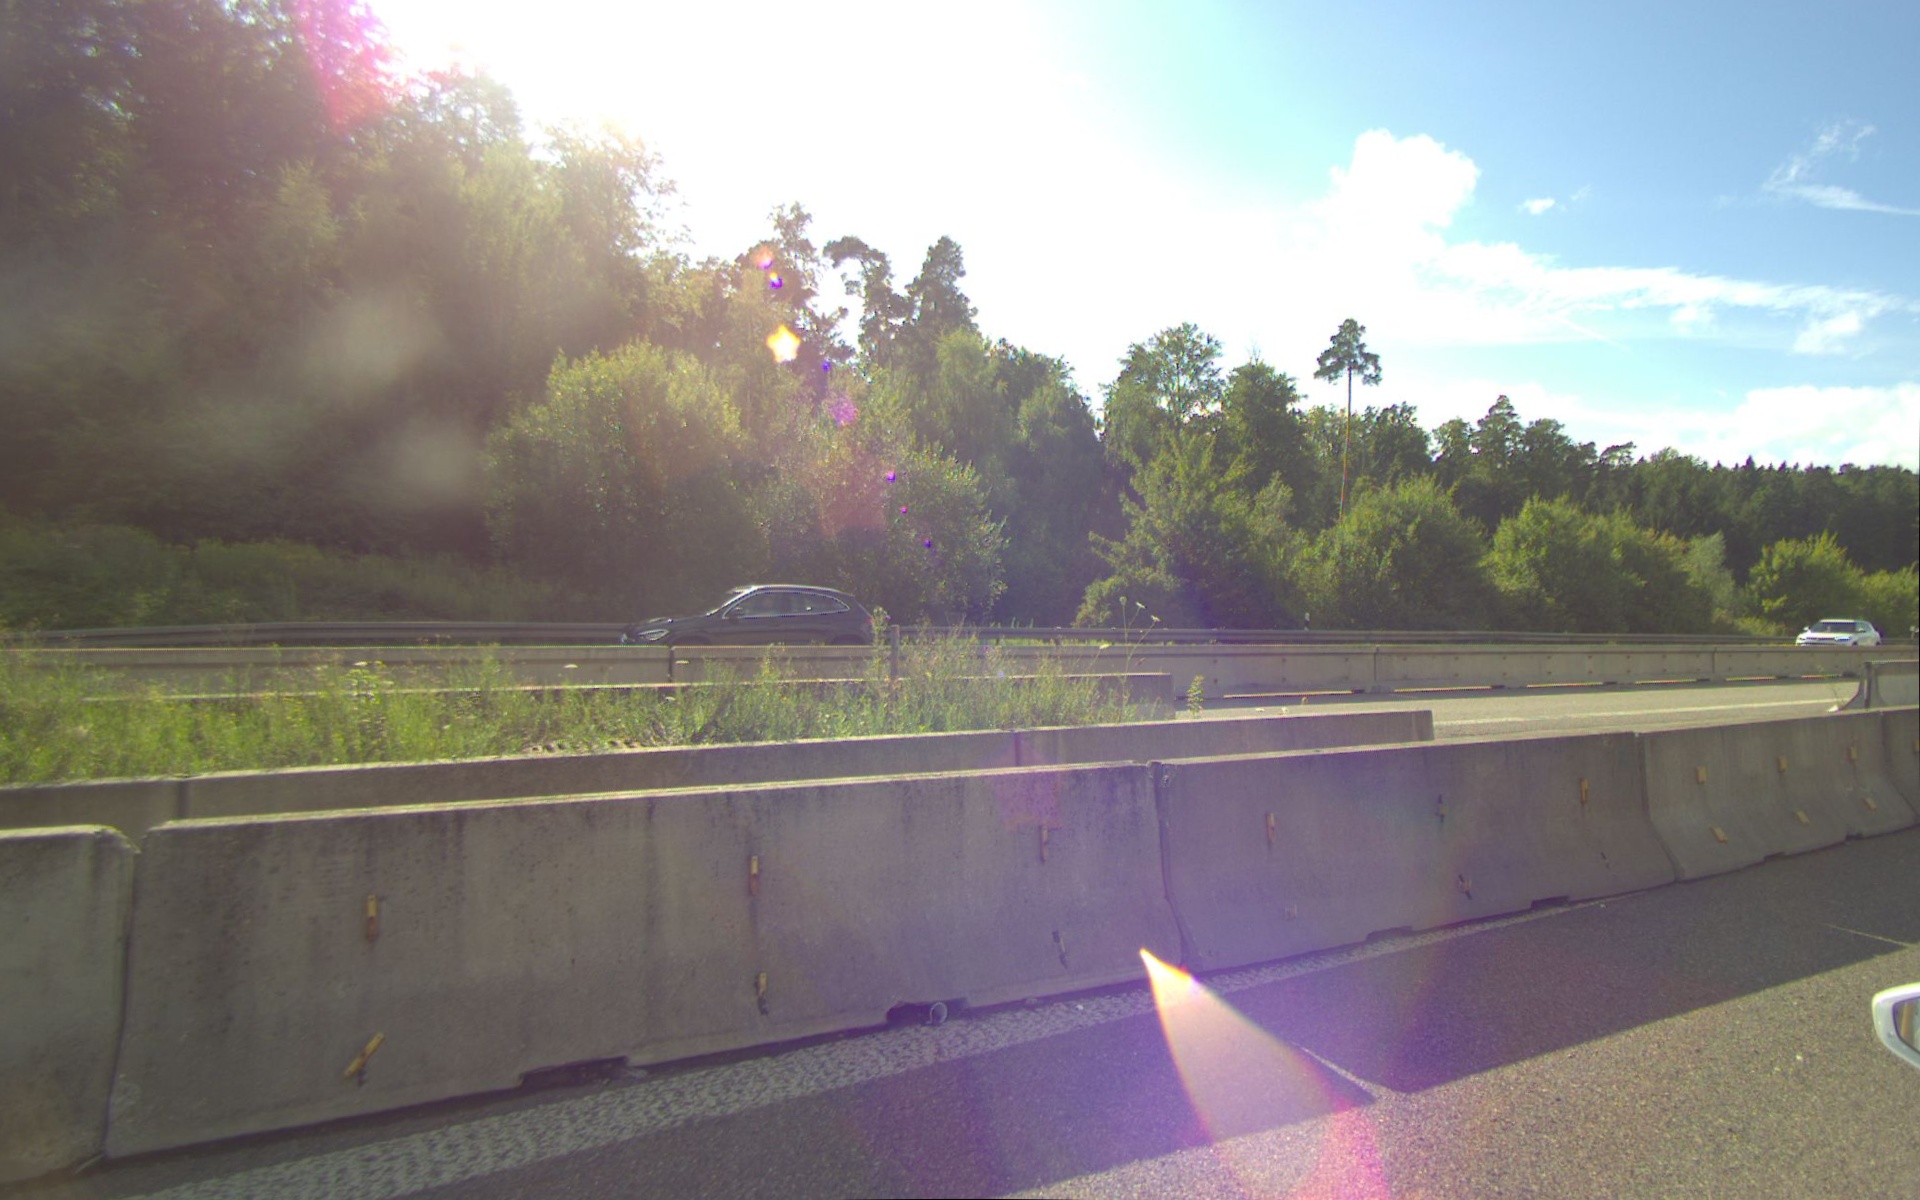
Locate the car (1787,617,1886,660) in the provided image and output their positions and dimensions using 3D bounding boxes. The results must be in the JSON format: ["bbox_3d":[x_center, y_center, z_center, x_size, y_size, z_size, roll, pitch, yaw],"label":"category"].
[{"bbox_3d":[35.675,1.550,40.879,3.968,1.624,1.770,2,0,-29],"label":"car"}]

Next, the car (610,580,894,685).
[{"bbox_3d":[-3.559,0.534,17.366,4.430,1.610,1.949,2,0,-30],"label":"car"}]
